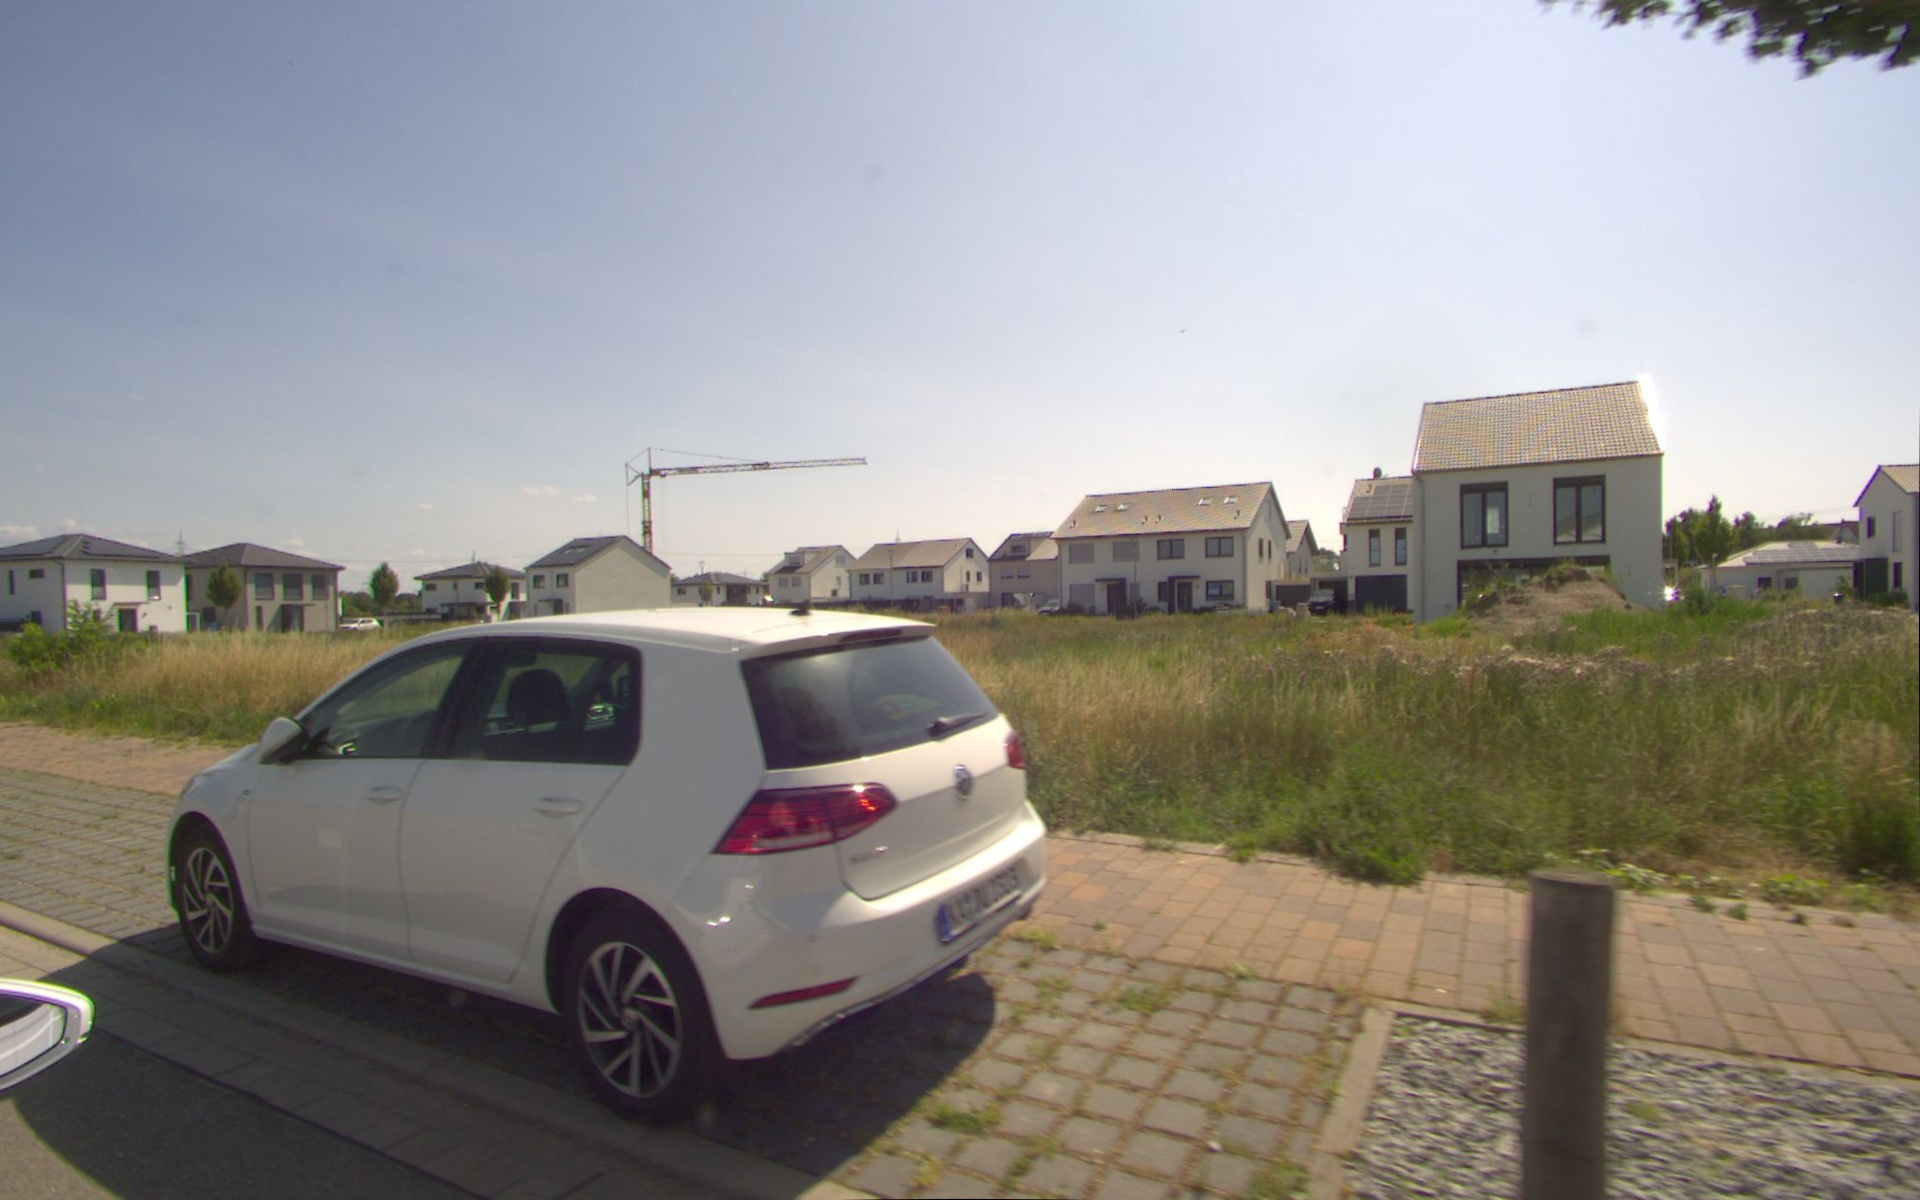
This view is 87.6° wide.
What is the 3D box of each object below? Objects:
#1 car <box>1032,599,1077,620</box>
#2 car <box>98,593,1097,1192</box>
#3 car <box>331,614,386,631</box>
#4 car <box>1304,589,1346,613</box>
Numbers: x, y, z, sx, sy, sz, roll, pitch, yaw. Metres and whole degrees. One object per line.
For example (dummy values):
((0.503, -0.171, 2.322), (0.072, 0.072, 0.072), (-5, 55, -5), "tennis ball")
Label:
((7.332, 0.726, 77.597), (1.790, 1.595, 3.977), (-1, 0, 33), "car")
((-1.669, 0.745, 4.275), (4.103, 1.439, 1.772), (-1, 2, 30), "car")
((-52.944, 1.970, 88.172), (1.719, 1.416, 3.994), (-2, -1, 16), "car")
((24.402, 0.036, 66.820), (1.790, 1.532, 3.977), (-1, 0, 33), "car")
